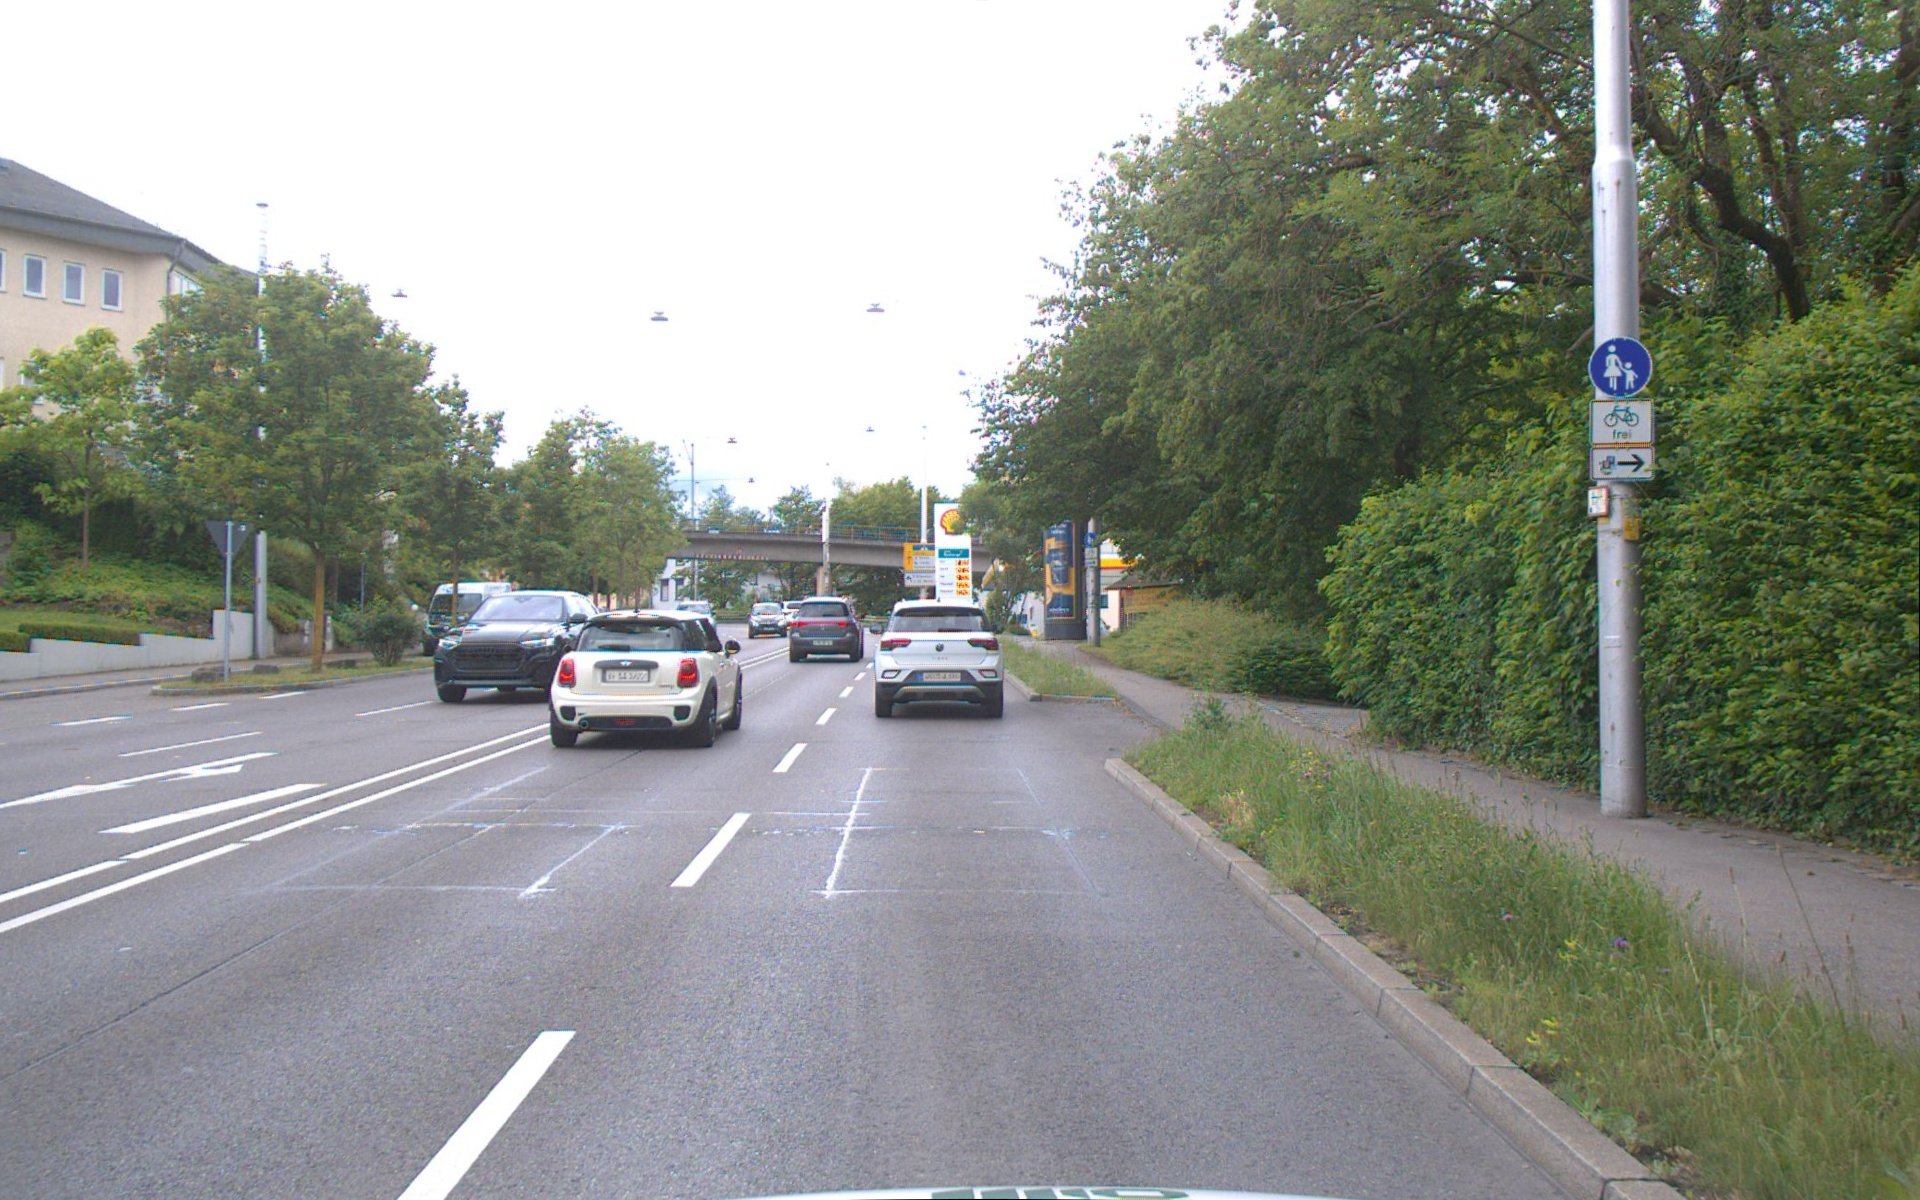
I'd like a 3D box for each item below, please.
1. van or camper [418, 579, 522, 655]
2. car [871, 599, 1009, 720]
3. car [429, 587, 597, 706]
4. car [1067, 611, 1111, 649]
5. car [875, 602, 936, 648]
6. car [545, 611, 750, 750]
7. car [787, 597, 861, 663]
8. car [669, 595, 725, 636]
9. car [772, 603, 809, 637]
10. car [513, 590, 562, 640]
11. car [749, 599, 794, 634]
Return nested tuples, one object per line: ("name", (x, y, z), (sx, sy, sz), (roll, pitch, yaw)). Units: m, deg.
("van or camper", (-17.344, 0.590, 58.843), (1.953, 2.516, 5.709), (-1, 0, 0))
("car", (-0.284, 0.772, 22.955), (1.760, 1.545, 3.455), (0, 0, -1))
("car", (-7.185, 0.708, 27.042), (1.811, 1.733, 4.758), (-1, 0, -5))
("car", (5.822, 1.366, 74.766), (1.700, 1.512, 3.877), (-1, -4, 1))
("car", (-1.788, 0.787, 53.622), (1.644, 1.433, 3.450), (0, 0, -8))
("car", (-3.374, 0.821, 18.444), (1.688, 1.400, 3.455), (0, 0, -1))
("car", (-3.523, 0.769, 43.269), (1.688, 1.668, 3.455), (0, 0, -1))
("car", (-11.456, 0.651, 72.277), (1.728, 1.738, 4.869), (0, 0, -1))
("car", (-9.922, 1.159, 96.506), (1.863, 1.971, 3.991), (0, 0, -10))
("car", (-20.648, 0.754, 81.021), (2.229, 2.313, 6.304), (-1, 0, -14))
("car", (-8.887, 0.775, 78.170), (1.728, 1.620, 4.365), (0, 0, -1))
